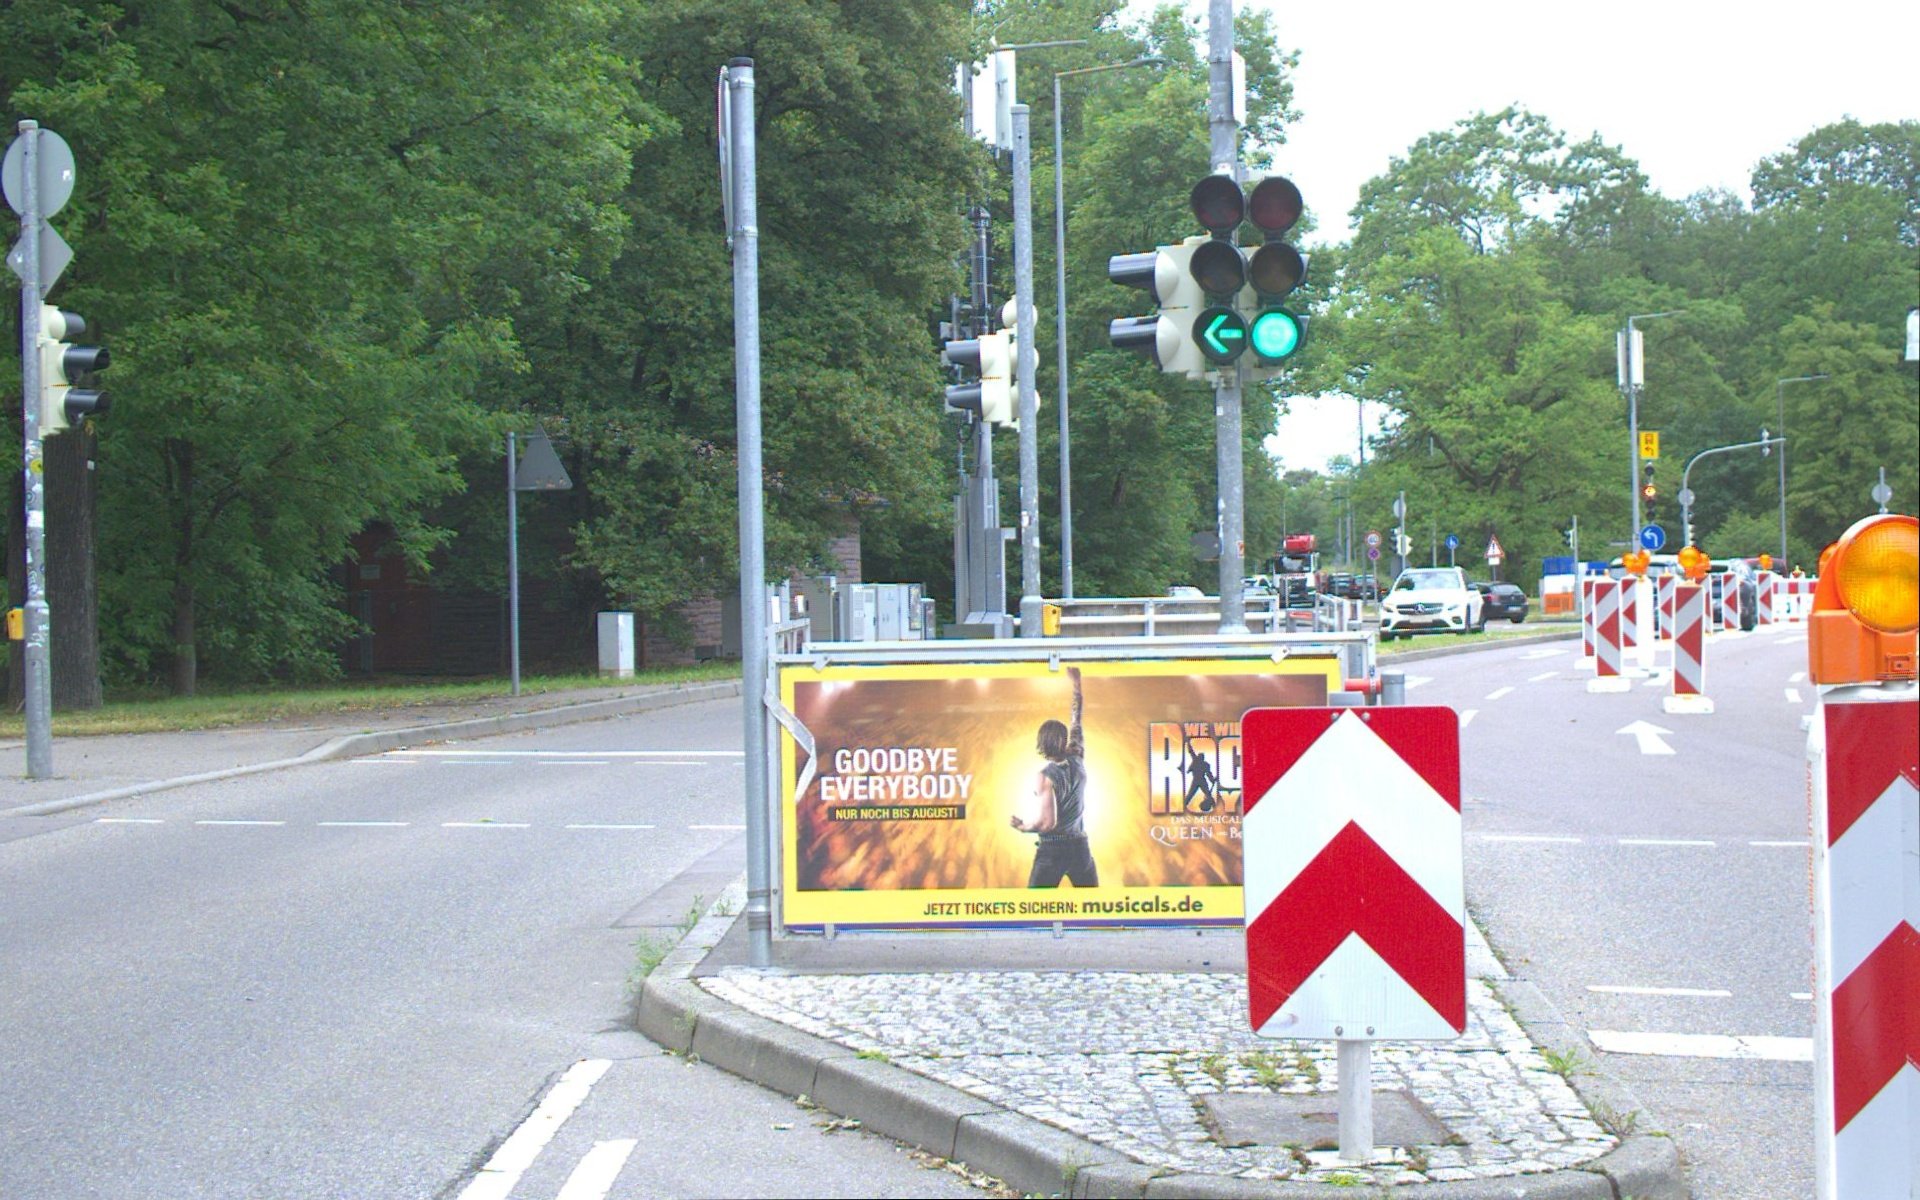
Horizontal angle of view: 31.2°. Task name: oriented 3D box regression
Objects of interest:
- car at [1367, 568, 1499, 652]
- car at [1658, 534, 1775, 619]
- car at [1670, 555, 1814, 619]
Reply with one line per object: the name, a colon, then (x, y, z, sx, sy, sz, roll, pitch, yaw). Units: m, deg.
car: (10.303, 0.216, 74.645, 1.995, 1.744, 4.574, 1, 0, 19)
car: (15.851, -0.478, 71.957, 1.798, 1.732, 3.699, 1, 0, 22)
car: (23.563, -0.399, 103.701, 1.993, 1.875, 4.000, 1, 0, -32)
